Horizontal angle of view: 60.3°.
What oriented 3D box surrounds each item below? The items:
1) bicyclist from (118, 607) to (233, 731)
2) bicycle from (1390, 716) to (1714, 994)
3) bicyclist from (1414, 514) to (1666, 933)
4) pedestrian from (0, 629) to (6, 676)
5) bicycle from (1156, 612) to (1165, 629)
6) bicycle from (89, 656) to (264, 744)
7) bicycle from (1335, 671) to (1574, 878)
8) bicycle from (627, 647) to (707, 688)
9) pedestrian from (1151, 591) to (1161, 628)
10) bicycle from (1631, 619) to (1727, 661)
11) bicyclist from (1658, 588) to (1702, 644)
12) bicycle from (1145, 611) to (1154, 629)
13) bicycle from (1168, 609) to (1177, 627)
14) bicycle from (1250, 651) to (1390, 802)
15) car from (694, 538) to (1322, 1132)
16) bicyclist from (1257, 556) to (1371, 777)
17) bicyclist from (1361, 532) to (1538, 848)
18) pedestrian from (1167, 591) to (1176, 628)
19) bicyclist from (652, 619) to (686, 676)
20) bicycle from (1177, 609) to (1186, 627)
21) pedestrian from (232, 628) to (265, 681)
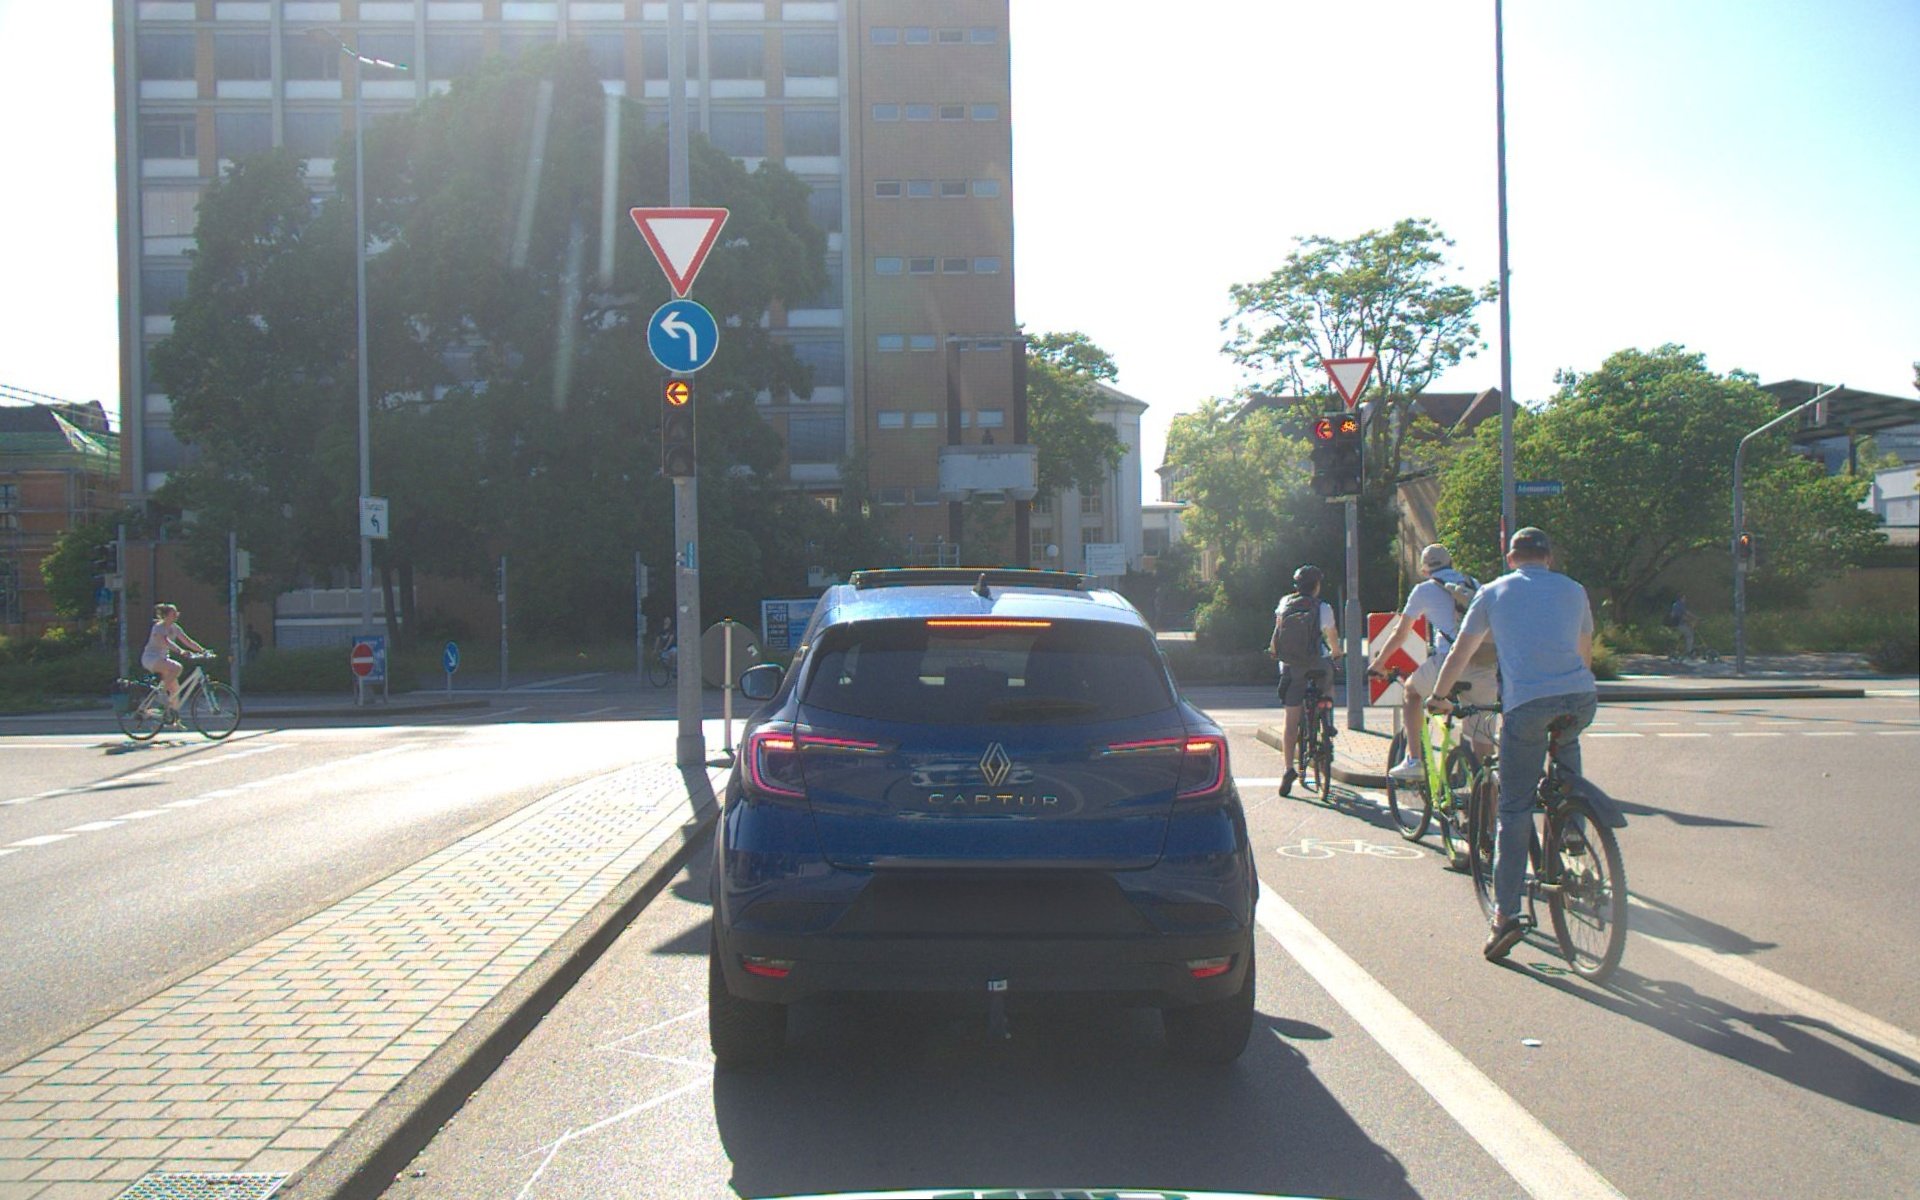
[{"bbox_3d":[-10.070,0.878,21.256,1.046,1.526,0.742,-3,-1,11],"label":"bicyclist"},{"bbox_3d":[2.504,1.038,7.265,0.725,0.911,1.978,1,0,0],"label":"bicycle"},{"bbox_3d":[2.509,0.507,7.263,0.736,1.698,1.016,1,0,0],"label":"bicyclist"},{"bbox_3d":[-33.145,1.795,56.489,0.842,1.598,0.559,-1,0,20],"label":"pedestrian"},{"bbox_3d":[11.402,1.158,94.181,0.397,0.990,1.684,1,0,3],"label":"bicycle"},{"bbox_3d":[-10.056,1.279,21.239,1.942,1.012,0.742,-3,-1,11],"label":"bicycle"},{"bbox_3d":[2.872,0.977,9.837,0.646,1.020,1.967,1,0,-6],"label":"bicycle"},{"bbox_3d":[-7.720,1.765,43.610,1.982,0.981,0.593,-1,0,-28],"label":"bicycle"},{"bbox_3d":[10.795,0.518,91.187,0.465,2.049,0.523,-1,0,5],"label":"pedestrian"},{"bbox_3d":[17.770,0.992,40.912,2.037,0.946,0.696,-2,1,7],"label":"bicycle"},{"bbox_3d":[17.802,0.389,40.906,0.808,1.339,0.696,-2,1,5],"label":"bicyclist"},{"bbox_3d":[10.793,1.147,94.215,0.397,0.990,1.684,1,0,3],"label":"bicycle"},{"bbox_3d":[12.154,1.026,94.560,0.397,0.990,1.684,1,0,3],"label":"bicycle"},{"bbox_3d":[2.762,0.935,12.915,0.723,1.012,2.174,1,0,3],"label":"bicycle"},{"bbox_3d":[0.062,0.667,6.674,1.767,1.660,3.998,1,0,-3],"label":"car"},{"bbox_3d":[2.760,0.501,12.967,0.711,1.657,0.969,1,0,3],"label":"bicyclist"},{"bbox_3d":[2.883,0.509,9.833,0.633,1.769,1.065,1,0,-6],"label":"bicyclist"},{"bbox_3d":[11.825,0.542,92.554,0.465,2.049,0.468,-1,0,5],"label":"pedestrian"},{"bbox_3d":[-7.672,1.242,43.637,0.728,1.466,0.593,-1,0,-27],"label":"bicyclist"},{"bbox_3d":[12.678,1.035,94.581,0.397,0.990,1.684,1,0,3],"label":"bicycle"},{"bbox_3d":[-22.444,1.711,52.190,0.722,1.631,0.599,-1,0,19],"label":"pedestrian"}]
